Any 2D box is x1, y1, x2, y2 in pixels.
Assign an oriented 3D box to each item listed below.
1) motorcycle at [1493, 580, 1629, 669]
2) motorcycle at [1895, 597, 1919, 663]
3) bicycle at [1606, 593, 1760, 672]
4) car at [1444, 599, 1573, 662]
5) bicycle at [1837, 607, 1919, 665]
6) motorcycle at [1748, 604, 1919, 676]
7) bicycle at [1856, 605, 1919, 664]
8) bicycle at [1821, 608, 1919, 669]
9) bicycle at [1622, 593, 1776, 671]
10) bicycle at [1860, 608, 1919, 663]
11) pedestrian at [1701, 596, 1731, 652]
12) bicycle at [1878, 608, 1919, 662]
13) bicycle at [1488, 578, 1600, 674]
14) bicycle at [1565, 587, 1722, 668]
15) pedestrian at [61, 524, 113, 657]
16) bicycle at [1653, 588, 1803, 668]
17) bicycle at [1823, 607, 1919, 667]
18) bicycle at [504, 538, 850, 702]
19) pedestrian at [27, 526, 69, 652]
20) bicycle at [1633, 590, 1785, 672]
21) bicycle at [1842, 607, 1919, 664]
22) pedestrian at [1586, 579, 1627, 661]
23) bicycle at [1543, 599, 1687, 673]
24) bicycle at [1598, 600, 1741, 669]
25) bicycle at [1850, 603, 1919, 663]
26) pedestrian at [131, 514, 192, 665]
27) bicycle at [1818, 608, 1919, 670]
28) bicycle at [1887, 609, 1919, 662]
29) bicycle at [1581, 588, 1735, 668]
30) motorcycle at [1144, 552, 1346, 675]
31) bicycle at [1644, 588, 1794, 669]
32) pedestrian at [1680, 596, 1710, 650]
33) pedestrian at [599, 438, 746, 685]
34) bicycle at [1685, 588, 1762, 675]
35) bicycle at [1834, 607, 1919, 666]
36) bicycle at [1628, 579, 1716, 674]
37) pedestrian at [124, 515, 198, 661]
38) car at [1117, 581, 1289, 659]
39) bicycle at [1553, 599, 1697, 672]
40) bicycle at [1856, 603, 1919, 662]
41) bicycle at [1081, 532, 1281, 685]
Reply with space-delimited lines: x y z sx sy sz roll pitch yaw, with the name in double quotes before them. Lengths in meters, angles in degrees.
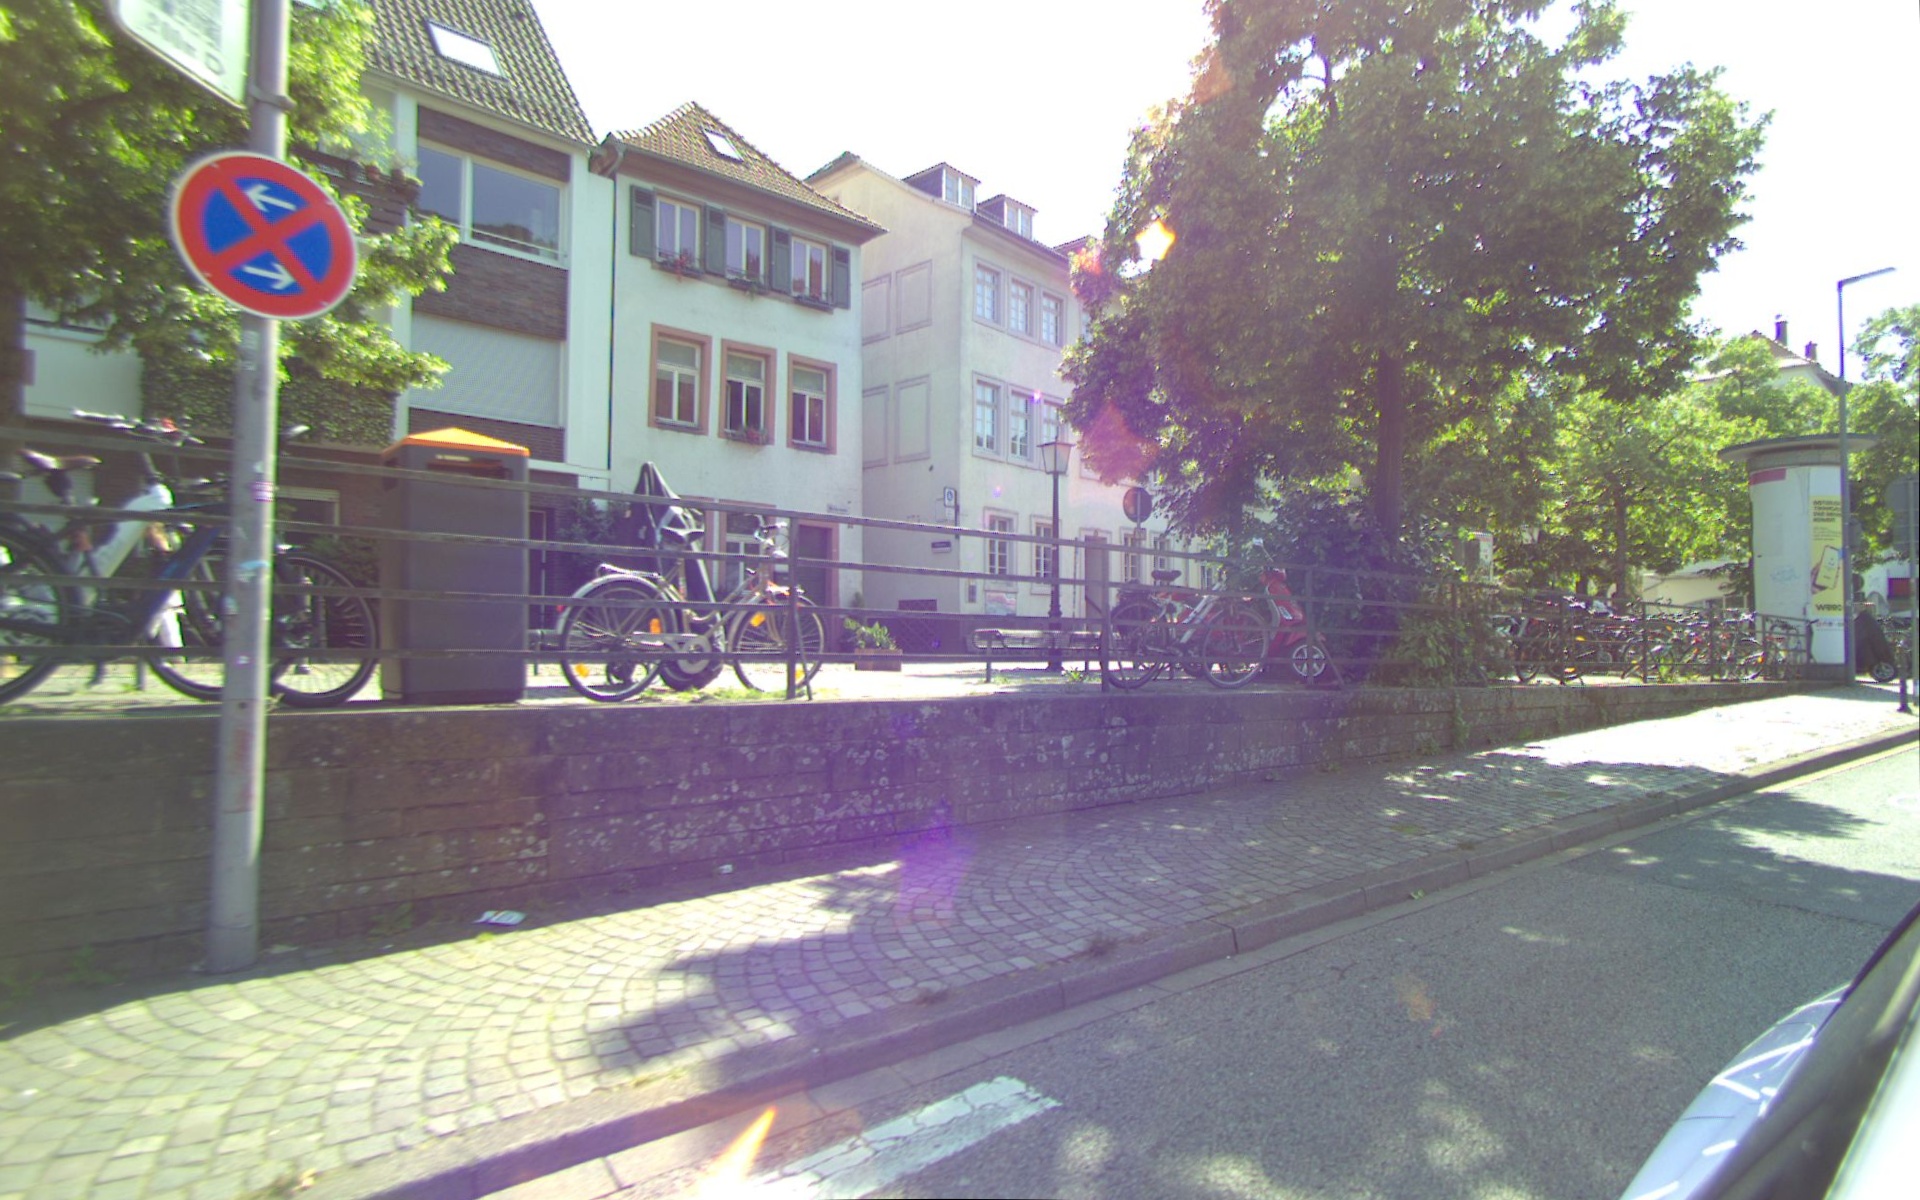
"motorcycle" 9.624 0.355 16.320 0.635 1.329 2.166 1 1 -9
"motorcycle" 23.099 0.699 23.434 0.783 1.547 2.202 0 -1 -1
"bicycle" 12.682 0.534 17.839 0.468 1.278 2.161 1 1 -37
"car" 17.372 1.027 31.999 4.377 1.816 1.838 3 -7 -37
"bicycle" 19.516 0.756 21.234 0.406 1.147 1.630 1 1 -41
"motorcycle" 16.637 0.725 19.366 0.709 1.291 2.542 0 -1 -14
"bicycle" 20.847 0.765 22.271 0.406 1.232 1.630 1 1 -41
"bicycle" 18.648 0.765 20.507 0.456 1.147 1.752 1 1 -41
"bicycle" 13.136 0.537 18.062 0.468 1.278 2.161 1 1 -37
"bicycle" 21.091 0.790 22.444 0.344 1.184 1.630 1 1 -41
"pedestrian" 20.863 0.668 27.922 0.655 1.527 0.493 1 -2 -38
"bicycle" 21.709 0.792 22.719 0.416 1.185 1.636 1 0 -19
"bicycle" 6.894 0.311 11.890 2.122 1.062 0.302 2 -1 -37
"bicycle" 11.571 0.423 17.211 0.468 1.278 2.161 1 1 -37
"pedestrian" -10.076 -0.100 11.694 0.381 1.503 0.510 1 -3 -35
"bicycle" 14.373 0.487 18.997 0.573 1.385 2.161 1 1 -37
"bicycle" 18.929 0.756 20.796 0.456 1.147 1.752 1 1 -41
"bicycle" -1.495 0.107 5.645 1.885 0.794 0.350 1 -1 -40
"pedestrian" -11.054 -0.122 12.271 0.319 1.503 0.345 1 -3 -35
"bicycle" 13.547 0.526 18.380 0.468 1.385 2.161 1 1 -37
"bicycle" 19.848 0.755 21.499 0.406 1.147 1.630 1 1 -41
"pedestrian" 14.116 0.434 22.088 0.492 1.768 0.541 1 -3 -35
"bicycle" 10.752 0.561 16.686 0.415 1.114 1.955 1 1 -37
"bicycle" 12.309 0.570 17.629 0.332 1.106 2.029 1 0 -37
"bicycle" 20.215 0.713 21.718 0.406 1.232 1.630 1 1 -41
"pedestrian" -9.070 -0.106 11.506 0.492 1.657 0.541 1 -3 -35
"bicycle" 18.251 0.766 20.115 0.531 1.147 1.750 1 1 -43
"bicycle" 21.993 0.808 22.819 0.359 1.185 1.636 1 0 -19
"bicycle" 11.969 0.449 17.439 0.413 1.278 2.161 1 1 -37
"motorcycle" 2.792 0.116 10.088 0.565 1.112 1.916 1 0 -44
"bicycle" 13.947 0.485 18.677 0.468 1.385 2.161 1 1 -37
"pedestrian" 20.539 0.646 28.283 0.568 1.478 0.494 1 -2 -32
"pedestrian" -1.800 -0.220 6.331 0.684 1.433 0.669 1 -1 -38
"bicycle" 11.958 0.467 15.823 2.124 1.278 0.476 0 0 -40
"bicycle" 19.323 0.752 20.997 0.456 1.147 1.752 1 1 -41
"bicycle" 10.201 0.351 14.474 2.124 1.278 0.476 0 0 -40
"pedestrian" -8.812 -0.121 11.180 0.597 1.565 0.469 1 -3 -35
"car" 6.402 0.565 26.383 4.647 1.824 1.836 3 -2 -37
"bicycle" 11.109 0.558 16.977 0.468 1.126 1.968 1 1 -37
"bicycle" 20.555 0.708 21.952 0.406 1.232 1.630 1 1 -41
"bicycle" 1.814 0.095 8.125 1.881 1.127 0.345 3 -2 -34
